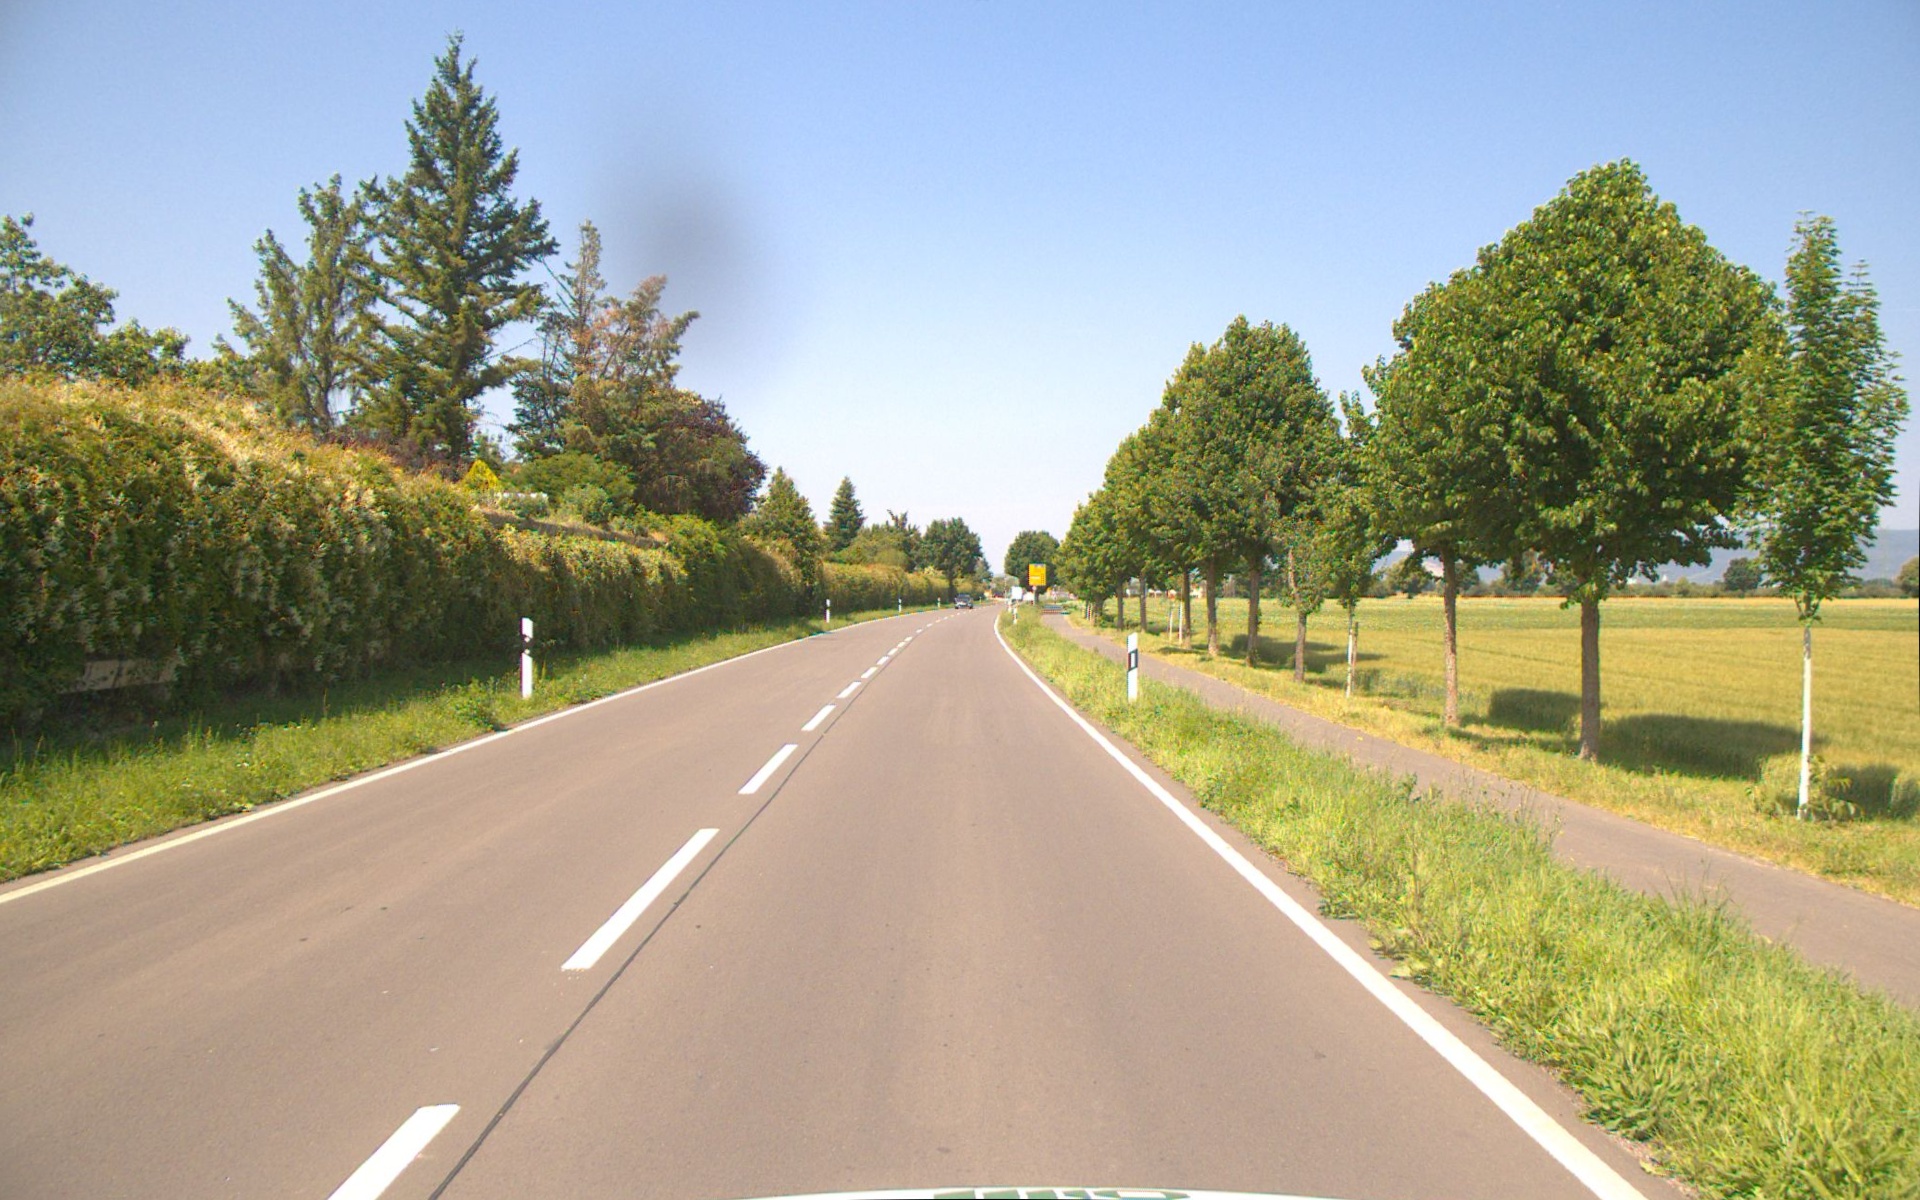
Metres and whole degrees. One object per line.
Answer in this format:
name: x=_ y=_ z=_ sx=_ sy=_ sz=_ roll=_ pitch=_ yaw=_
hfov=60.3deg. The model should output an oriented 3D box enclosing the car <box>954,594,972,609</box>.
car: x=0.288 y=0.123 z=173.852 sx=1.802 sy=1.493 sz=3.932 roll=0 pitch=0 yaw=0
